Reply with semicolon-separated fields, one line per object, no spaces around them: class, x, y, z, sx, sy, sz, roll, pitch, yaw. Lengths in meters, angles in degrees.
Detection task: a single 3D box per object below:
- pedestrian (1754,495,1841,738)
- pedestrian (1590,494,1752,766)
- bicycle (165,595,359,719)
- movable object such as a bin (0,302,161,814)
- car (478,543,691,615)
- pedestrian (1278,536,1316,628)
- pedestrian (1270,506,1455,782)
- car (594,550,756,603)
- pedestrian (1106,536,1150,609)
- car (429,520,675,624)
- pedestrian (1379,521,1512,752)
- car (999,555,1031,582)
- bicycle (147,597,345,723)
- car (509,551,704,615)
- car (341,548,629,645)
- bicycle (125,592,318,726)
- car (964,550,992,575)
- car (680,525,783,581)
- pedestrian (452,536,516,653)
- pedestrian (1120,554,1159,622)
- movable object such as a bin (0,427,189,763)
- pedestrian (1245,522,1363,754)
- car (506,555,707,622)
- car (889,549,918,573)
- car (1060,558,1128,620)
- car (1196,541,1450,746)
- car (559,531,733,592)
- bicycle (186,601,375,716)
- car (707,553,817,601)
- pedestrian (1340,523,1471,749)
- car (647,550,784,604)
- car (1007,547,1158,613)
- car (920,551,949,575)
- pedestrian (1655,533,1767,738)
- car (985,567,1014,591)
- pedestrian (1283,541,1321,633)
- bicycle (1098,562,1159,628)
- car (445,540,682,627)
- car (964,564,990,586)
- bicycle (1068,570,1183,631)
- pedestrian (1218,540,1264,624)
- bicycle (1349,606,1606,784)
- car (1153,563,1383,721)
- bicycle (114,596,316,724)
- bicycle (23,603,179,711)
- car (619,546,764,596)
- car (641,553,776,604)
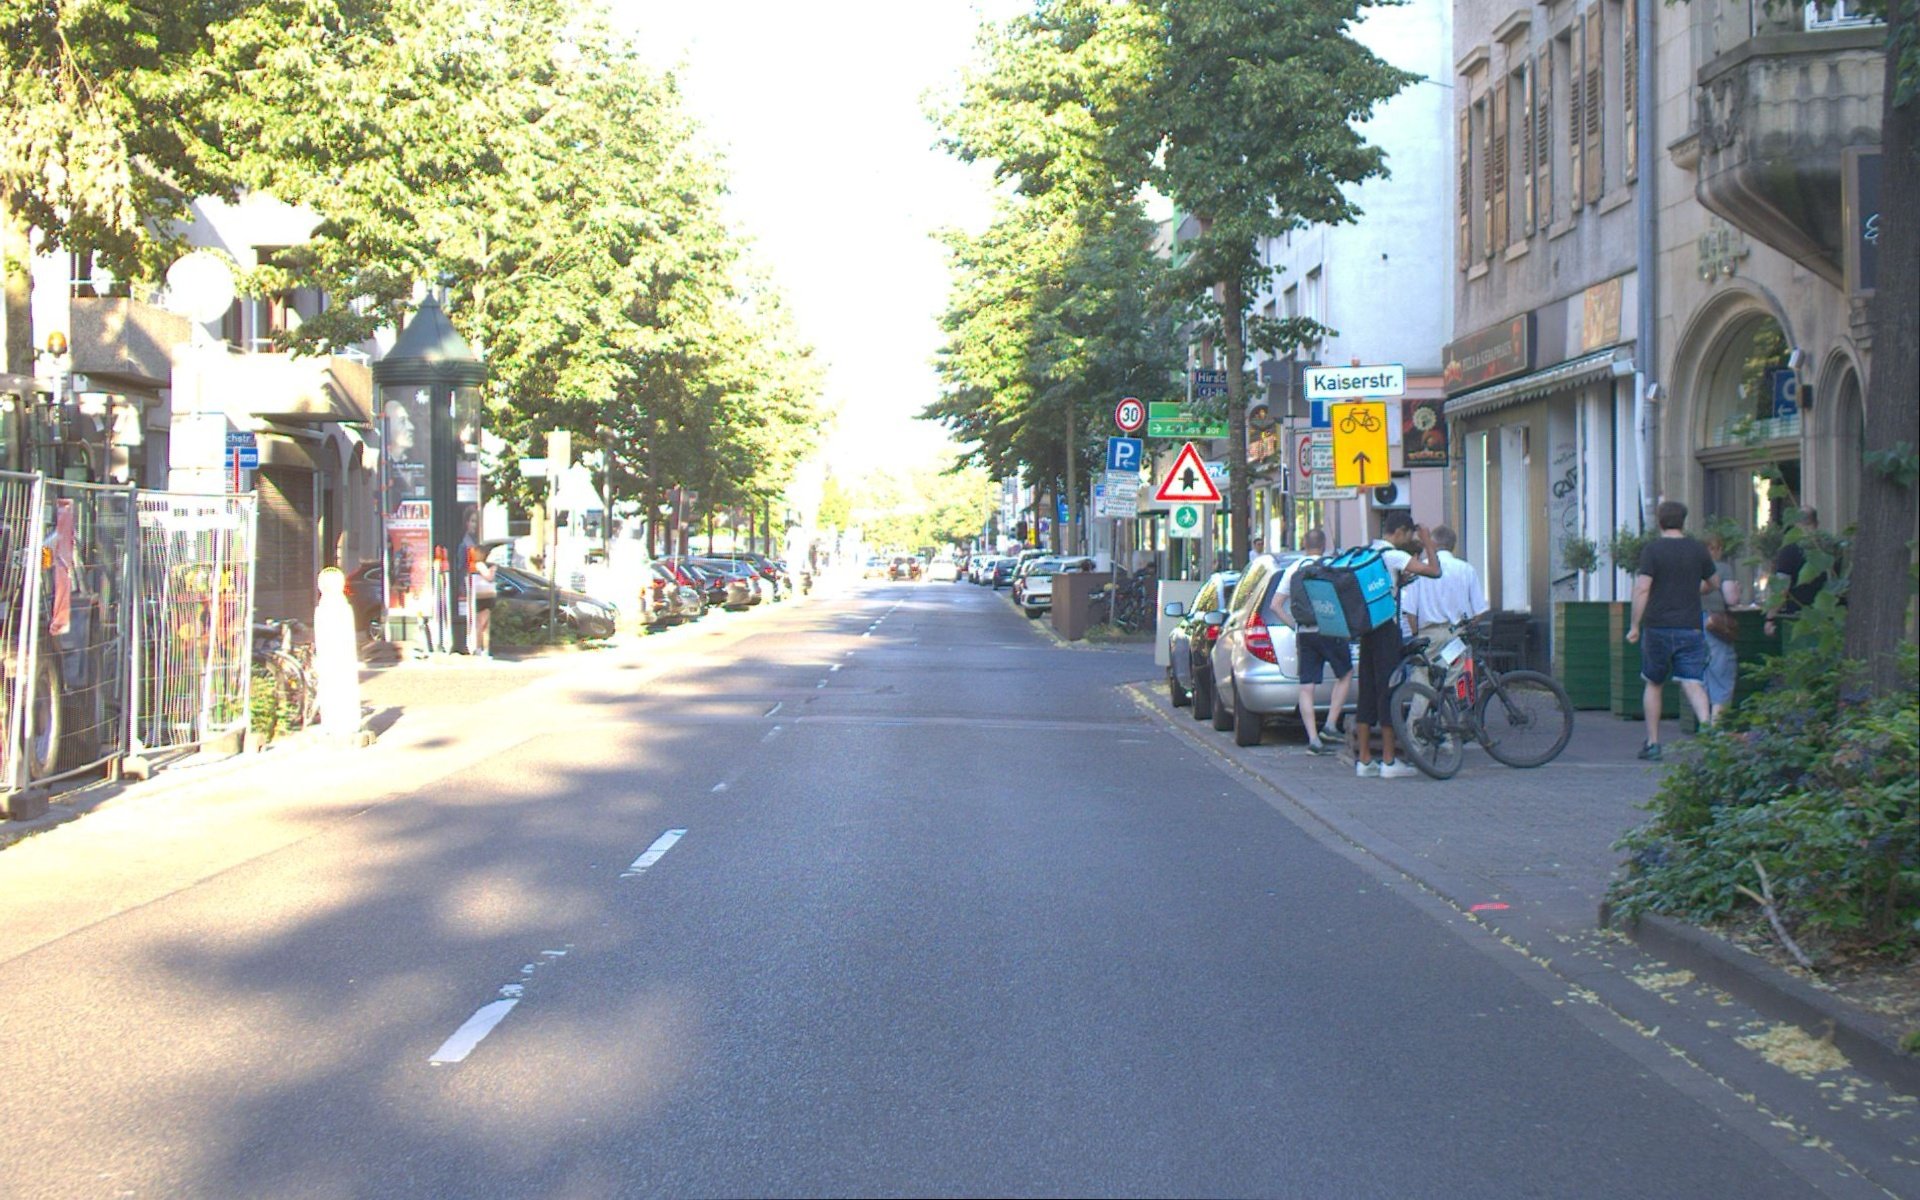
pedestrian;6.515;0.122;26.762;0.460;1.869;0.501;-1;1;-15
pedestrian;5.032;0.200;24.395;0.822;1.847;1.097;-3;1;-2
bicycle;-6.536;0.534;32.220;1.683;1.075;0.444;2;0;8
movable object such as a bin;-6.862;-0.265;21.308;2.625;2.959;5.304;0;1;0
car;-8.188;-0.453;75.261;4.442;1.501;1.844;1;0;1
pedestrian;5.998;-0.325;61.179;0.567;1.594;0.663;-1;2;0
pedestrian;2.770;0.292;23.709;1.013;1.819;0.780;-3;1;-10
car;-8.124;-0.670;98.359;4.442;1.444;1.919;1;0;1
pedestrian;4.458;-0.727;91.221;0.916;1.919;1.018;1;1;-10
car;-7.976;-0.560;67.511;4.571;1.955;1.991;1;0;0
pedestrian;3.674;0.274;26.000;0.651;1.694;0.668;-3;1;-44
car;2.645;-1.527;165.432;1.513;1.271;3.303;0;0;1
bicycle;-6.568;0.546;31.634;1.683;1.075;0.444;2;0;8
car;-8.412;-0.420;82.138;4.442;1.453;1.859;1;0;1
car;-7.851;-0.069;57.091;4.546;1.536;1.811;1;0;-1
bicycle;-6.471;0.525;30.151;1.544;1.113;0.444;3;-1;-33
car;1.154;-2.369;217.874;1.752;1.535;3.303;0;0;1
car;-10.157;-2.082;153.185;4.442;2.426;1.919;0;0;1
pedestrian;-6.904;-0.081;49.901;0.710;1.680;0.833;0;1;9
pedestrian;3.616;-0.244;69.302;0.726;1.374;0.781;0;1;0
movable object such as a bin;-8.773;-0.035;25.320;2.312;2.486;5.740;1;1;43
pedestrian;2.639;0.280;26.440;0.677;1.748;0.825;-1;0;-10
car;-8.185;-0.279;79.832;4.442;1.479;1.809;1;0;1
car;-3.676;-2.527;224.575;1.752;1.535;3.303;0;0;1
car;3.157;-0.267;81.289;1.543;1.428;3.678;0;1;1
car;3.053;0.314;29.599;1.687;1.569;4.013;-3;1;0
car;-8.359;-1.025;91.835;4.442;1.562;1.919;1;0;1
bicycle;-6.512;0.561;32.945;1.683;1.018;0.444;2;0;8
car;-8.252;-0.980;143.440;4.442;1.953;1.919;0;0;1
pedestrian;3.456;0.270;26.716;0.677;1.700;0.825;-3;1;-15
car;-8.225;-0.782;115.735;4.442;1.753;1.919;1;0;1
car;3.076;-0.503;85.998;1.674;1.583;3.814;1;1;43
car;-1.582;-2.342;215.978;1.721;1.470;3.303;0;0;1
pedestrian;5.878;0.270;26.934;0.658;1.557;0.701;-3;1;0
car;2.124;-1.140;183.710;1.513;1.259;3.303;0;0;1
pedestrian;6.014;-0.237;60.416;0.567;1.578;0.663;-1;2;0
bicycle;3.080;-0.094;62.726;0.598;1.174;1.844;0;1;19
car;-8.065;-0.339;70.180;4.571;1.692;2.060;1;0;1
car;1.045;-1.504;206.502;1.513;1.294;3.303;0;0;1
bicycle;2.941;0.000;61.267;1.958;1.070;0.704;1;1;32
pedestrian;5.500;-0.359;67.259;0.797;1.620;0.911;0;1;12
bicycle;3.584;0.636;23.684;0.866;1.095;1.922;-1;2;39
car;2.998;0.364;34.289;1.785;1.371;4.524;-3;1;0
bicycle;-6.723;0.541;31.043;1.682;1.075;0.444;3;0;-1
bicycle;-8.015;0.530;32.087;1.324;0.976;0.444;1;0;3
car;-8.517;-0.918;109.233;4.442;1.518;1.919;1;0;1
car;-8.294;-0.717;113.633;4.304;1.592;1.919;1;0;1
